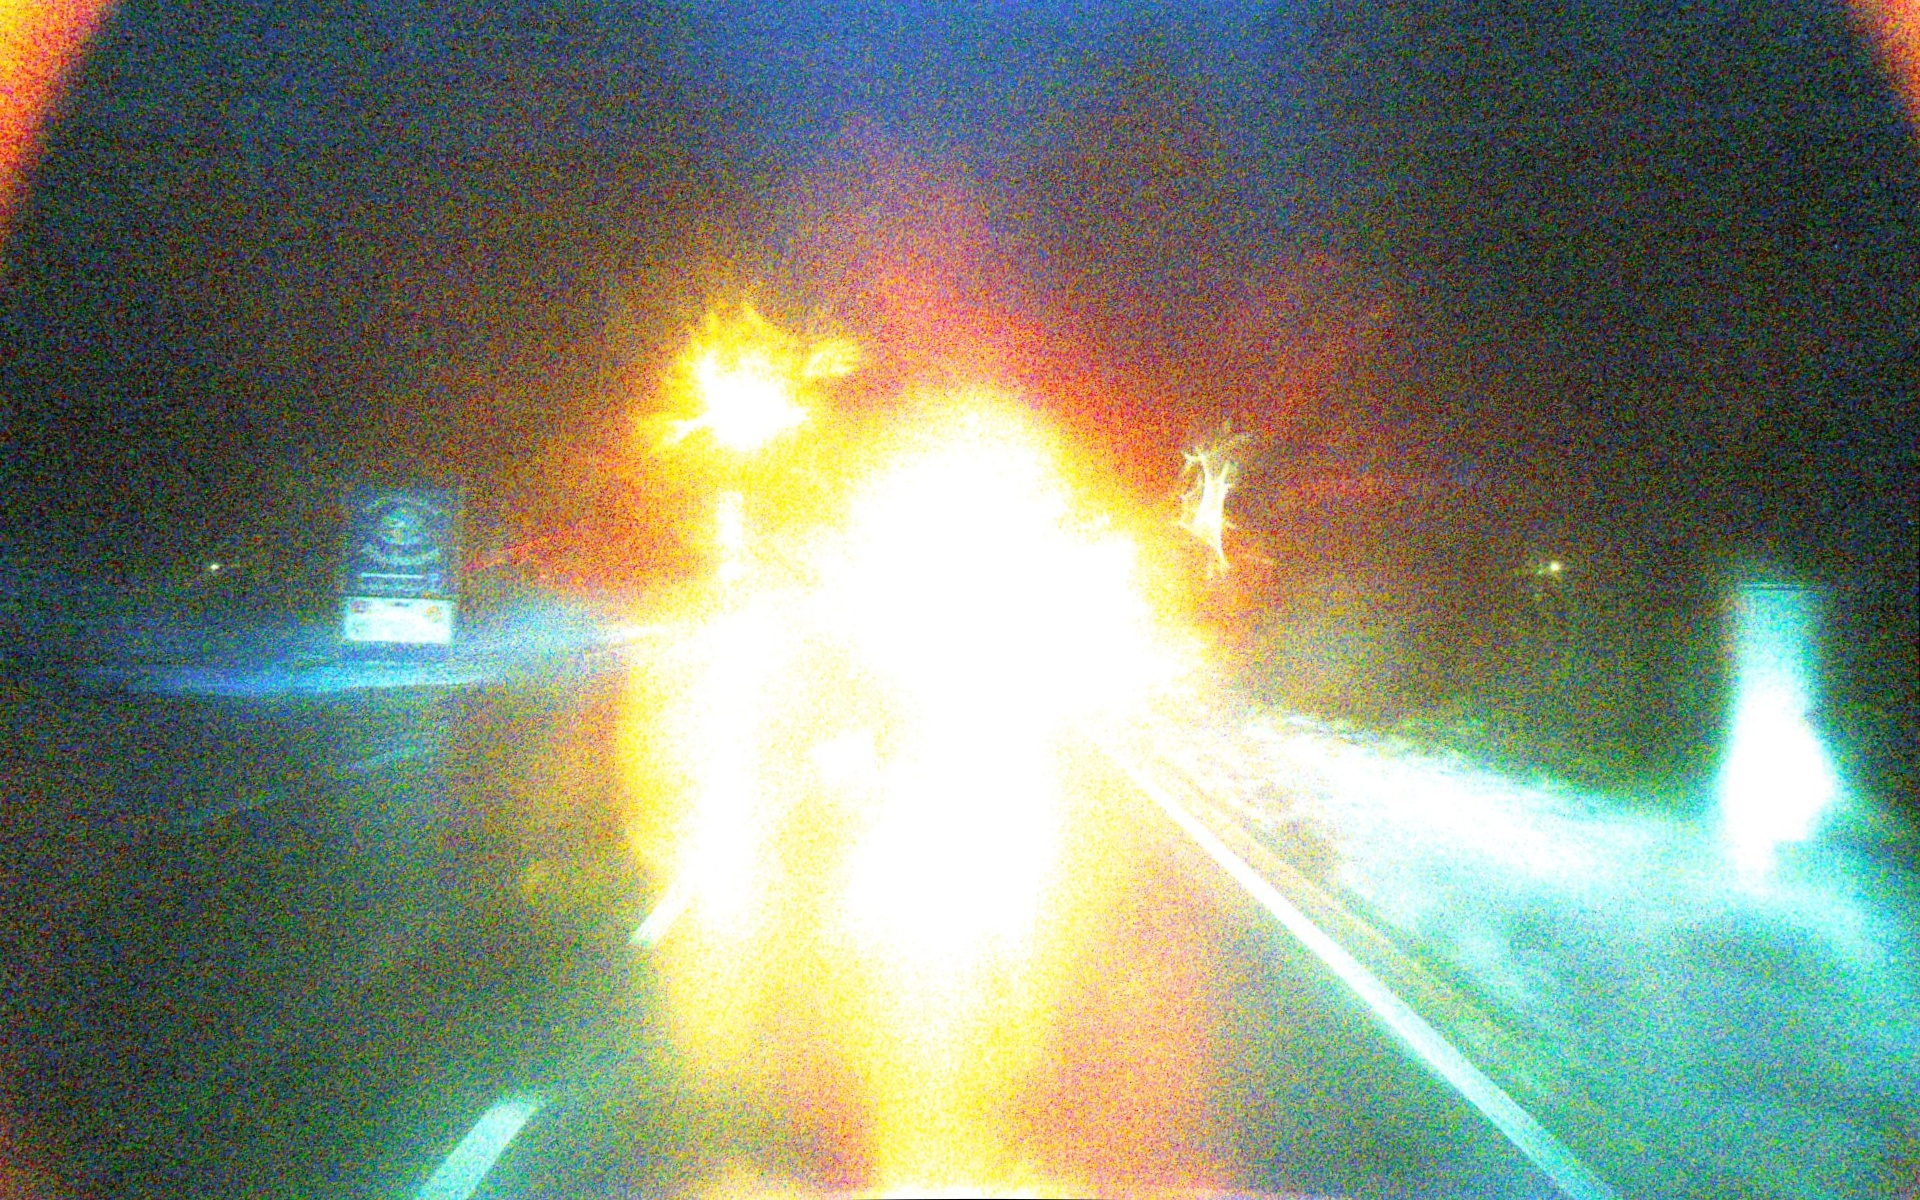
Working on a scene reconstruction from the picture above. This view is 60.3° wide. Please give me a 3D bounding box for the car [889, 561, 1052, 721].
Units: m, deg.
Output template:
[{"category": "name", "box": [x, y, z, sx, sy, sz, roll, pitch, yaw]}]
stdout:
[{"category": "car", "box": [0.167, 0.423, 19.775, 1.754, 1.711, 3.905, 0, 0, 2]}]
